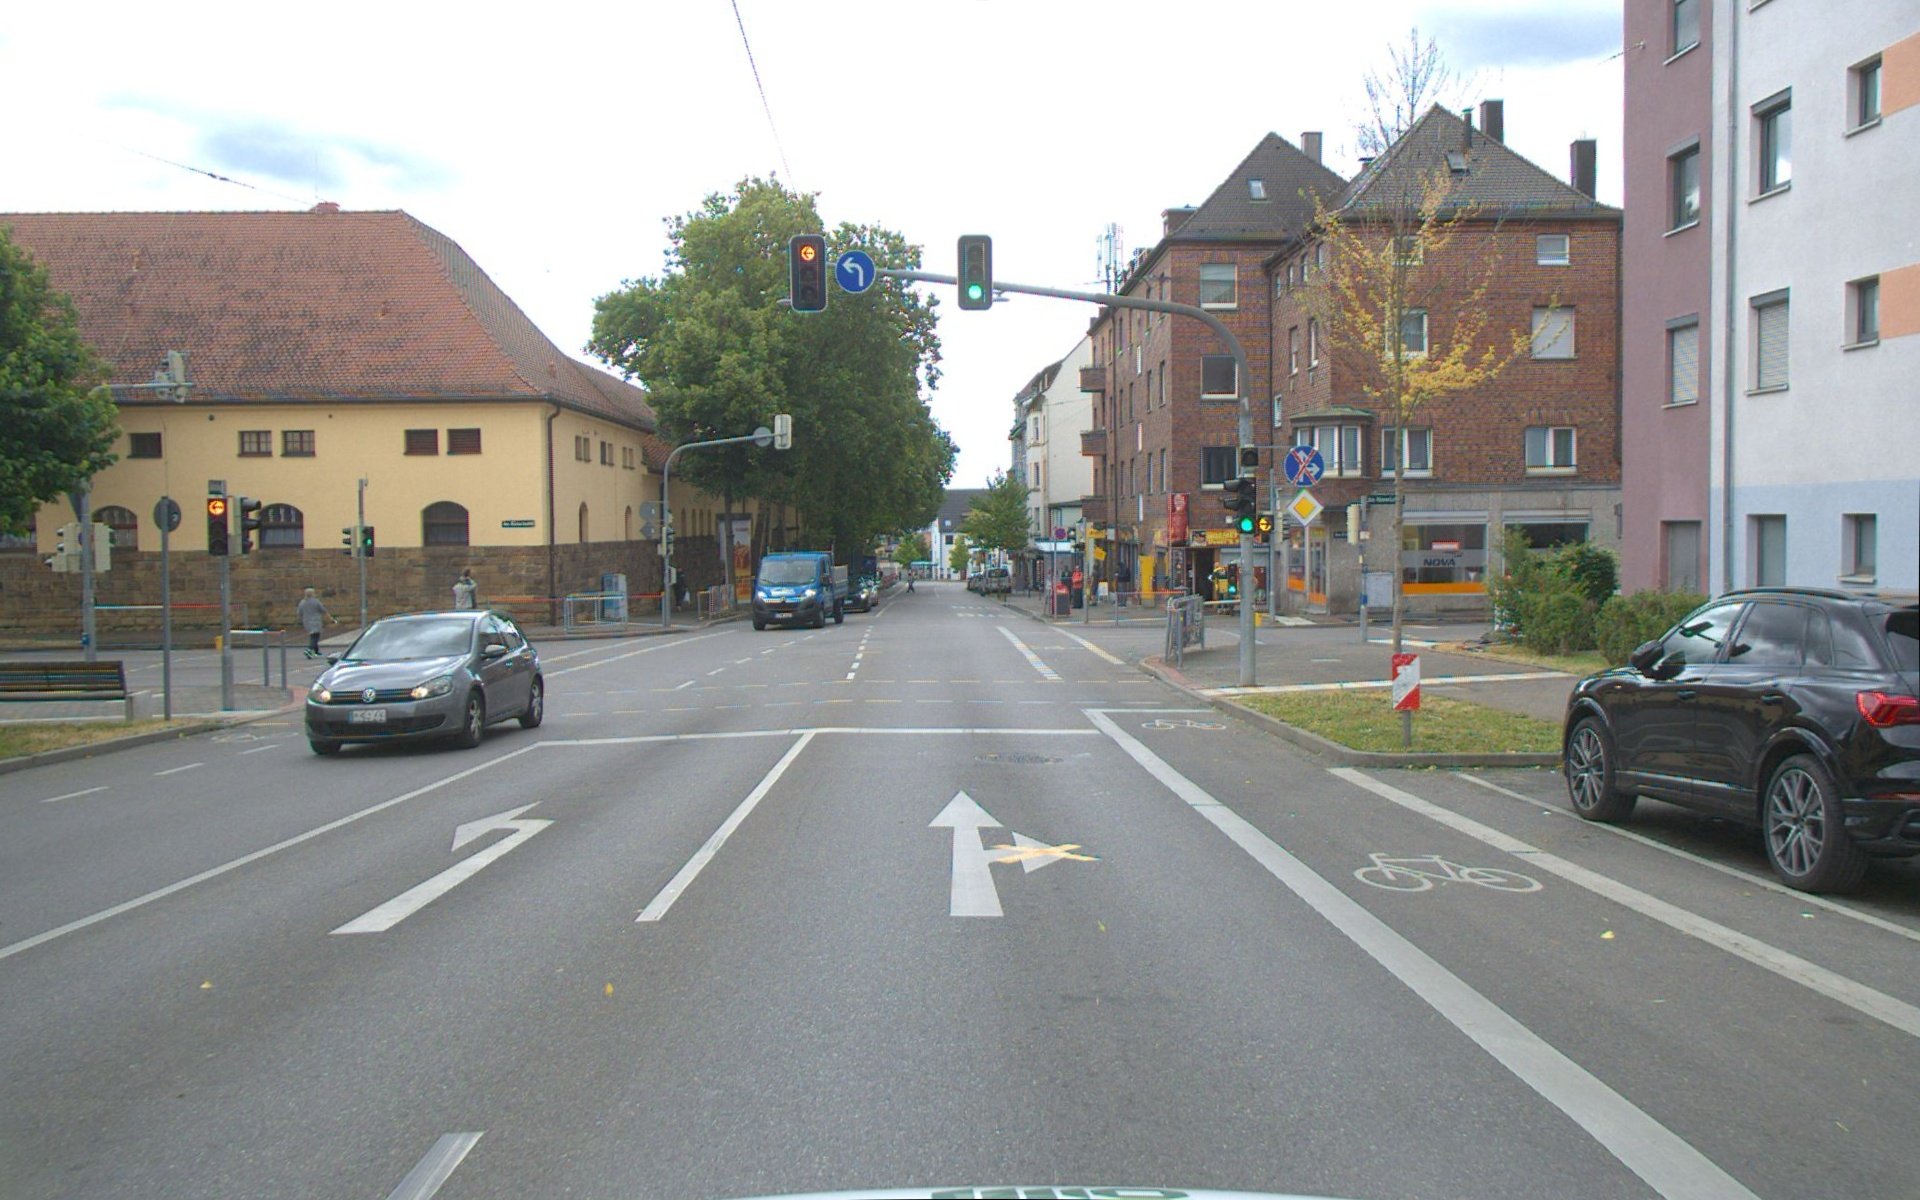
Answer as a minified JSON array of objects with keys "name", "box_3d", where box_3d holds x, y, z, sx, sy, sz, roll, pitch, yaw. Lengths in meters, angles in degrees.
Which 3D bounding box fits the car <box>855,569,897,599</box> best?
[{"name":"car","box_3d":[-3.961,-0.739,78.767,1.651,1.298,4.095,-3,0,1]}]

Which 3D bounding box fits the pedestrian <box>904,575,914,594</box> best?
[{"name":"pedestrian","box_3d":[-4.248,-1.259,136.883,0.664,1.563,0.606,-1,1,-26]}]

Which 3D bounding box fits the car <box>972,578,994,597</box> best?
[{"name":"car","box_3d":[1.976,-1.109,141.931,1.635,1.574,3.754,0,1,-4]}]

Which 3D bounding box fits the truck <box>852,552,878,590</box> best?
[{"name":"truck","box_3d":[-8.848,-2.710,154.462,2.186,3.404,7.447,-1,1,-2]}]

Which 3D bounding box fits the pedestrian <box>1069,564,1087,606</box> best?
[{"name":"pedestrian","box_3d":[4.730,-0.588,66.161,0.553,1.665,0.681,0,1,19]}]

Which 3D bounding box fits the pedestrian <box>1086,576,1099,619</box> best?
[{"name":"pedestrian","box_3d":[5.625,-0.099,70.182,0.469,1.795,0.458,0,0,-1]}]

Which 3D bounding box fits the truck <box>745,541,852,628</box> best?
[{"name":"truck","box_3d":[-4.898,-0.509,51.084,2.247,2.469,6.414,-2,1,3]}]

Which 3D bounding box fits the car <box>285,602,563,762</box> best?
[{"name":"car","box_3d":[-5.953,0.831,18.921,1.720,1.498,4.306,-2,1,0]}]

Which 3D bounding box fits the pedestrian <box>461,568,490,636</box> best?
[{"name":"pedestrian","box_3d":[-13.077,0.041,44.639,0.552,1.808,0.842,0,1,-2]}]

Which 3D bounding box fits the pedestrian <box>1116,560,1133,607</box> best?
[{"name":"pedestrian","box_3d":[6.310,-0.648,63.405,0.633,1.780,0.778,0,1,4]}]

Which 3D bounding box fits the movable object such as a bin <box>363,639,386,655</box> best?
[{"name":"movable object such as a bin","box_3d":[-13.827,1.106,39.059,0.300,0.353,0.581,0,1,4]}]

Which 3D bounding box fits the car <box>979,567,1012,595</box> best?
[{"name":"car","box_3d":[2.507,-1.393,118.466,1.954,1.969,4.915,0,1,-4]}]

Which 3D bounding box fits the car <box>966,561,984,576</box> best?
[{"name":"car","box_3d":[1.528,-3.276,171.966,1.635,1.574,3.754,0,1,-4]}]

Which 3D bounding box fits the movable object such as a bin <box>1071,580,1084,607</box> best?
[{"name":"movable object such as a bin","box_3d":[4.686,-0.278,65.961,0.443,1.075,0.410,0,0,19]}]

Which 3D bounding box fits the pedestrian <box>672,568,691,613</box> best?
[{"name":"pedestrian","box_3d":[-11.233,-0.384,66.773,0.660,1.795,0.725,0,0,-1]}]

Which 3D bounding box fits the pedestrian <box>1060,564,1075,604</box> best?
[{"name":"pedestrian","box_3d":[4.786,-0.715,73.701,0.656,1.758,0.764,0,1,4]}]

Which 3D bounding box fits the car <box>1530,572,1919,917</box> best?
[{"name":"car","box_3d":[5.202,0.685,10.090,1.700,1.616,4.570,1,0,-2]}]

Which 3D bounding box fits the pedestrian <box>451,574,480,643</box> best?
[{"name":"pedestrian","box_3d":[-13.091,0.224,43.829,0.552,1.808,0.717,0,1,-2]}]

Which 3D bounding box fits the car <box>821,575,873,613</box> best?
[{"name":"car","box_3d":[-4.493,-0.263,66.202,1.668,1.439,4.193,-2,1,1]}]

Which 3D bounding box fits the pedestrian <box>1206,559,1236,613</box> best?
[{"name":"pedestrian","box_3d":[8.377,-0.440,53.153,0.772,1.685,0.772,-3,1,-1]}]

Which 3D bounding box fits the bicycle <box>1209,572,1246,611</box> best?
[{"name":"bicycle","box_3d":[8.546,-0.272,52.872,0.744,1.214,2.391,0,1,-1]}]

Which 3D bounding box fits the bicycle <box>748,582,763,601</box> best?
[{"name":"bicycle","box_3d":[-12.839,-0.532,103.912,0.584,1.110,2.195,2,1,1]}]

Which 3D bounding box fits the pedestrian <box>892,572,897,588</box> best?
[{"name":"pedestrian","box_3d":[-8.569,-2.609,217.436,0.620,2.049,0.784,0,1,0]}]

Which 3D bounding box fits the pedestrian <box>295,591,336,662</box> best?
[{"name":"pedestrian","box_3d":[-14.780,0.592,37.956,0.552,1.594,0.843,0,1,4]}]
